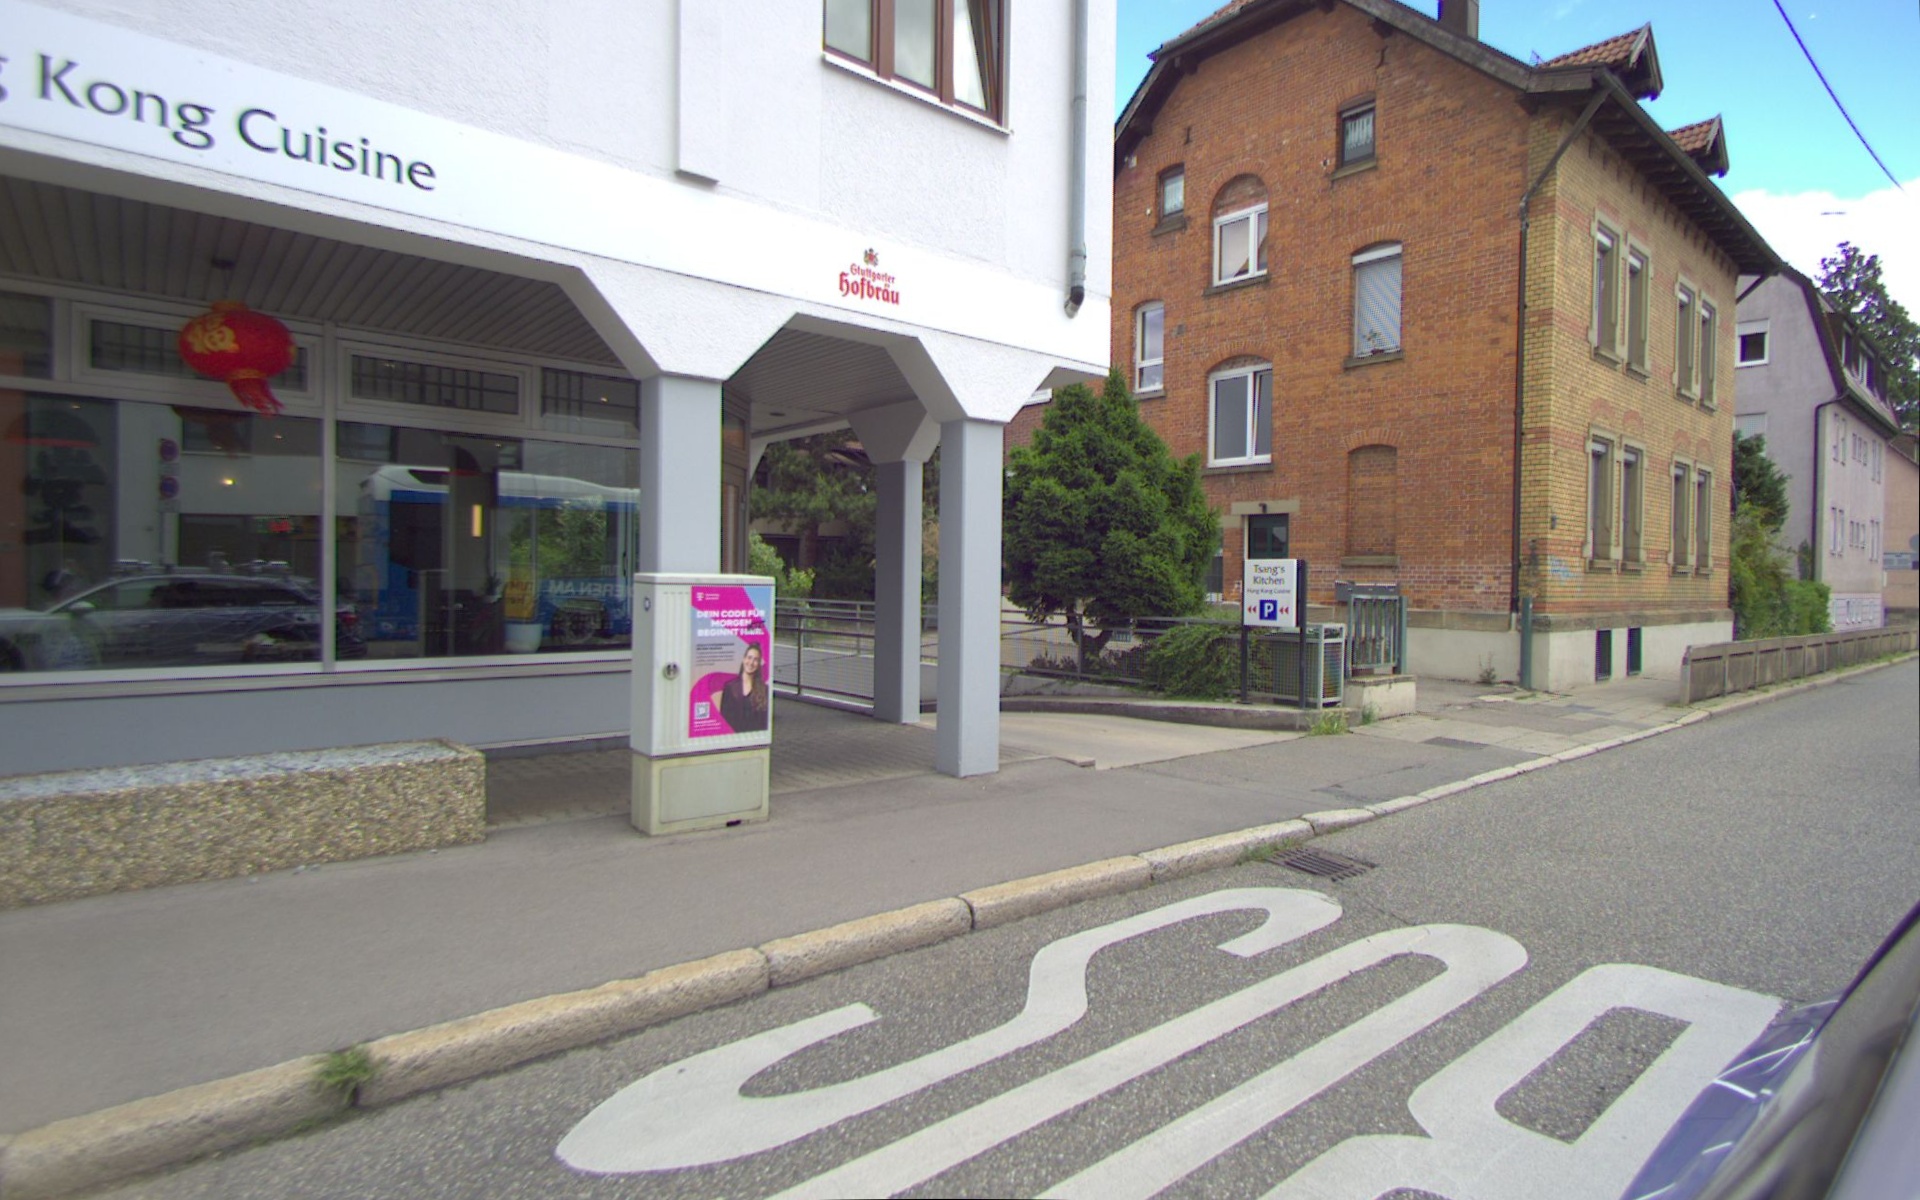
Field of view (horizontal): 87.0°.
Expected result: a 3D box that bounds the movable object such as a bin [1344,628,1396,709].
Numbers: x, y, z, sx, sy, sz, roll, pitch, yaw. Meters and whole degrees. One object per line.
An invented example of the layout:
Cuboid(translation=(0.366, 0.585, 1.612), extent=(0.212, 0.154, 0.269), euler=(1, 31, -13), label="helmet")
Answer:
Cuboid(translation=(4.906, 0.806, 12.105), extent=(0.448, 0.915, 0.398), euler=(0, 1, -41), label="movable object such as a bin")

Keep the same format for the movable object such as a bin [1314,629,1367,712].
Cuboid(translation=(4.422, 0.808, 11.753), extent=(0.448, 0.915, 0.398), euler=(0, 1, -41), label="movable object such as a bin")
